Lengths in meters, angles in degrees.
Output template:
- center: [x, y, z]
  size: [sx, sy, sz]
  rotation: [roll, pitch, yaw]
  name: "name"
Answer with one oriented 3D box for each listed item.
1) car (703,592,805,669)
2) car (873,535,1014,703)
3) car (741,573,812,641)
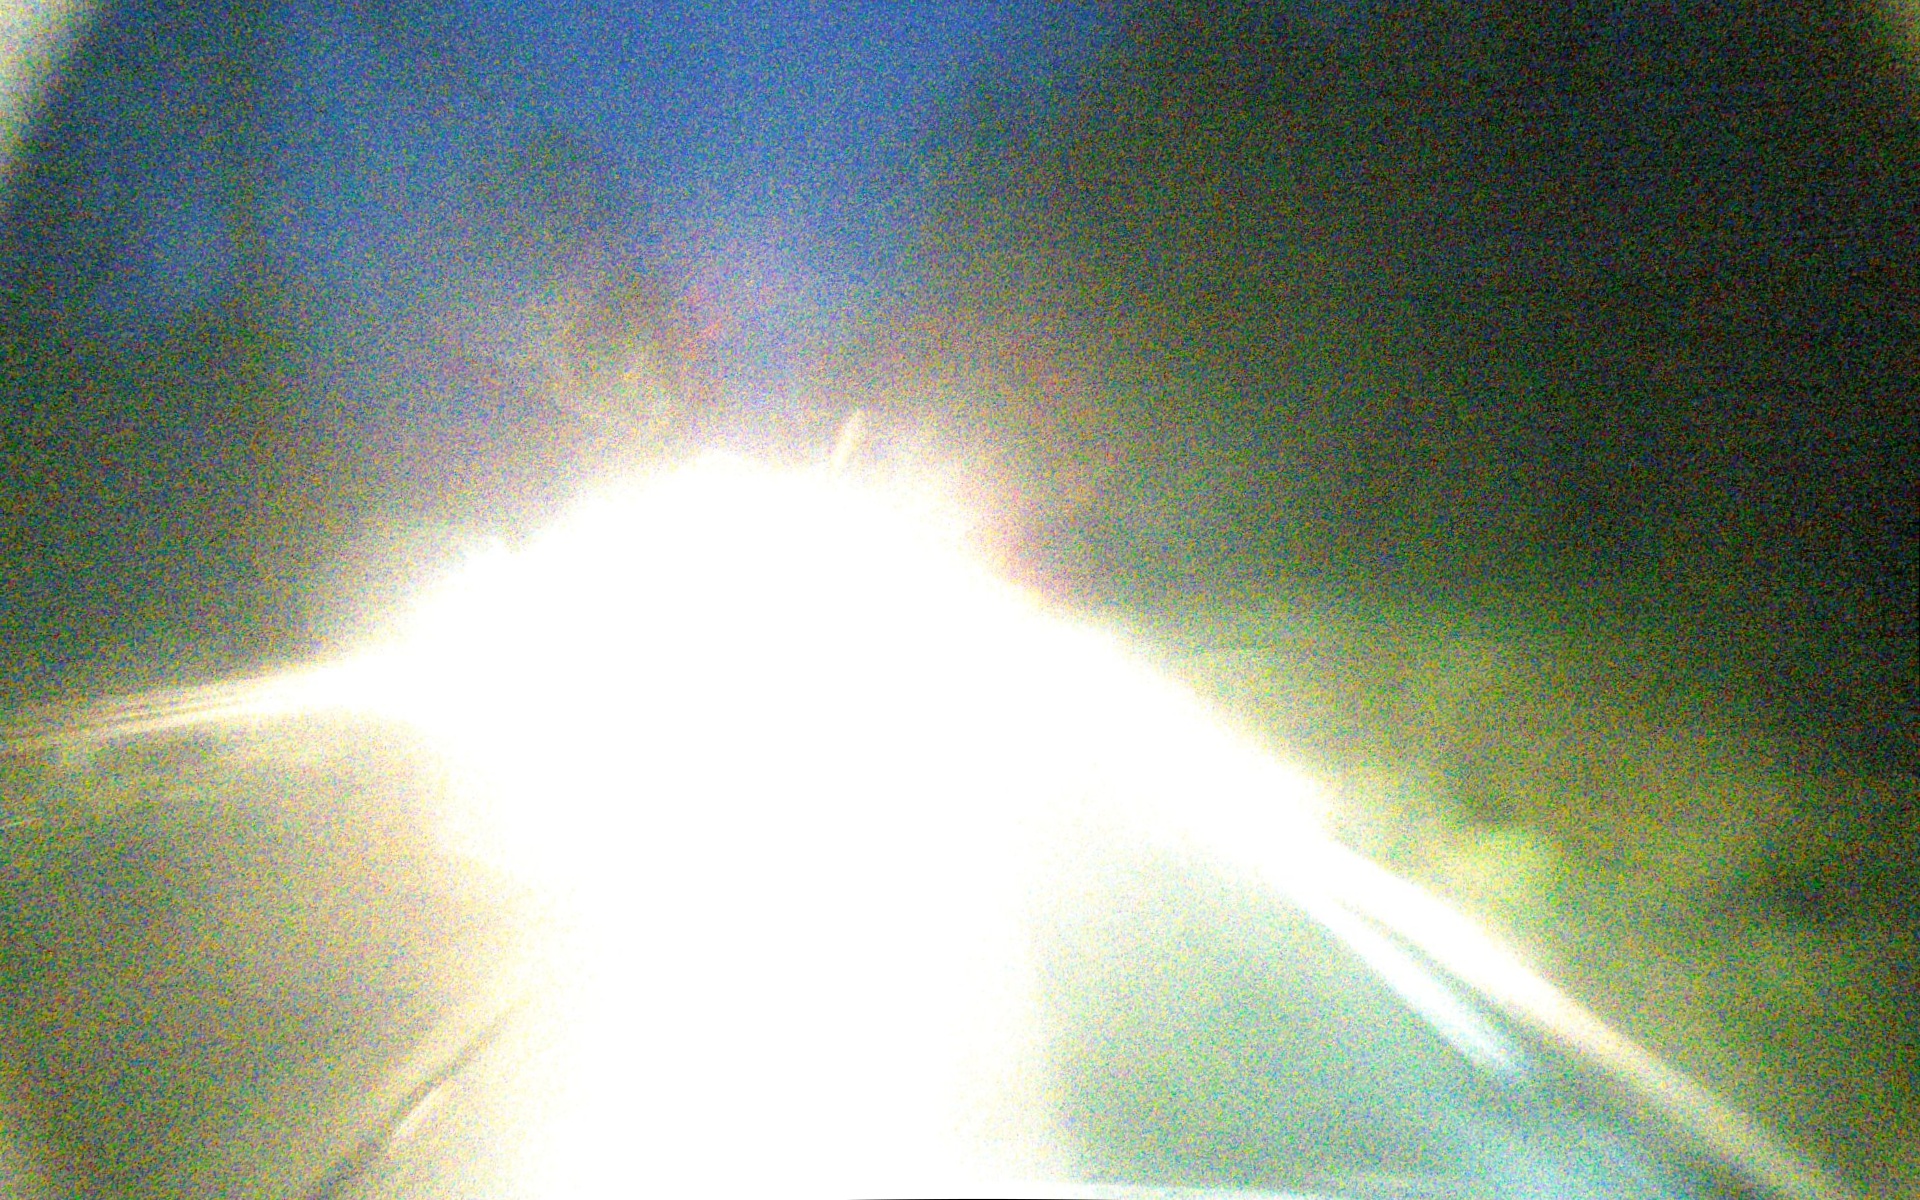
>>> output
- center: [-4.267, 0.596, 34.754]
  size: [1.814, 1.515, 3.991]
  rotation: [1, 0, -3]
  name: "car"
- center: [-0.379, 0.307, 28.701]
  size: [2.138, 2.602, 4.504]
  rotation: [2, 0, -4]
  name: "car"
- center: [-5.898, 0.203, 53.627]
  size: [1.953, 2.104, 4.344]
  rotation: [-1, 0, -3]
  name: "car"
